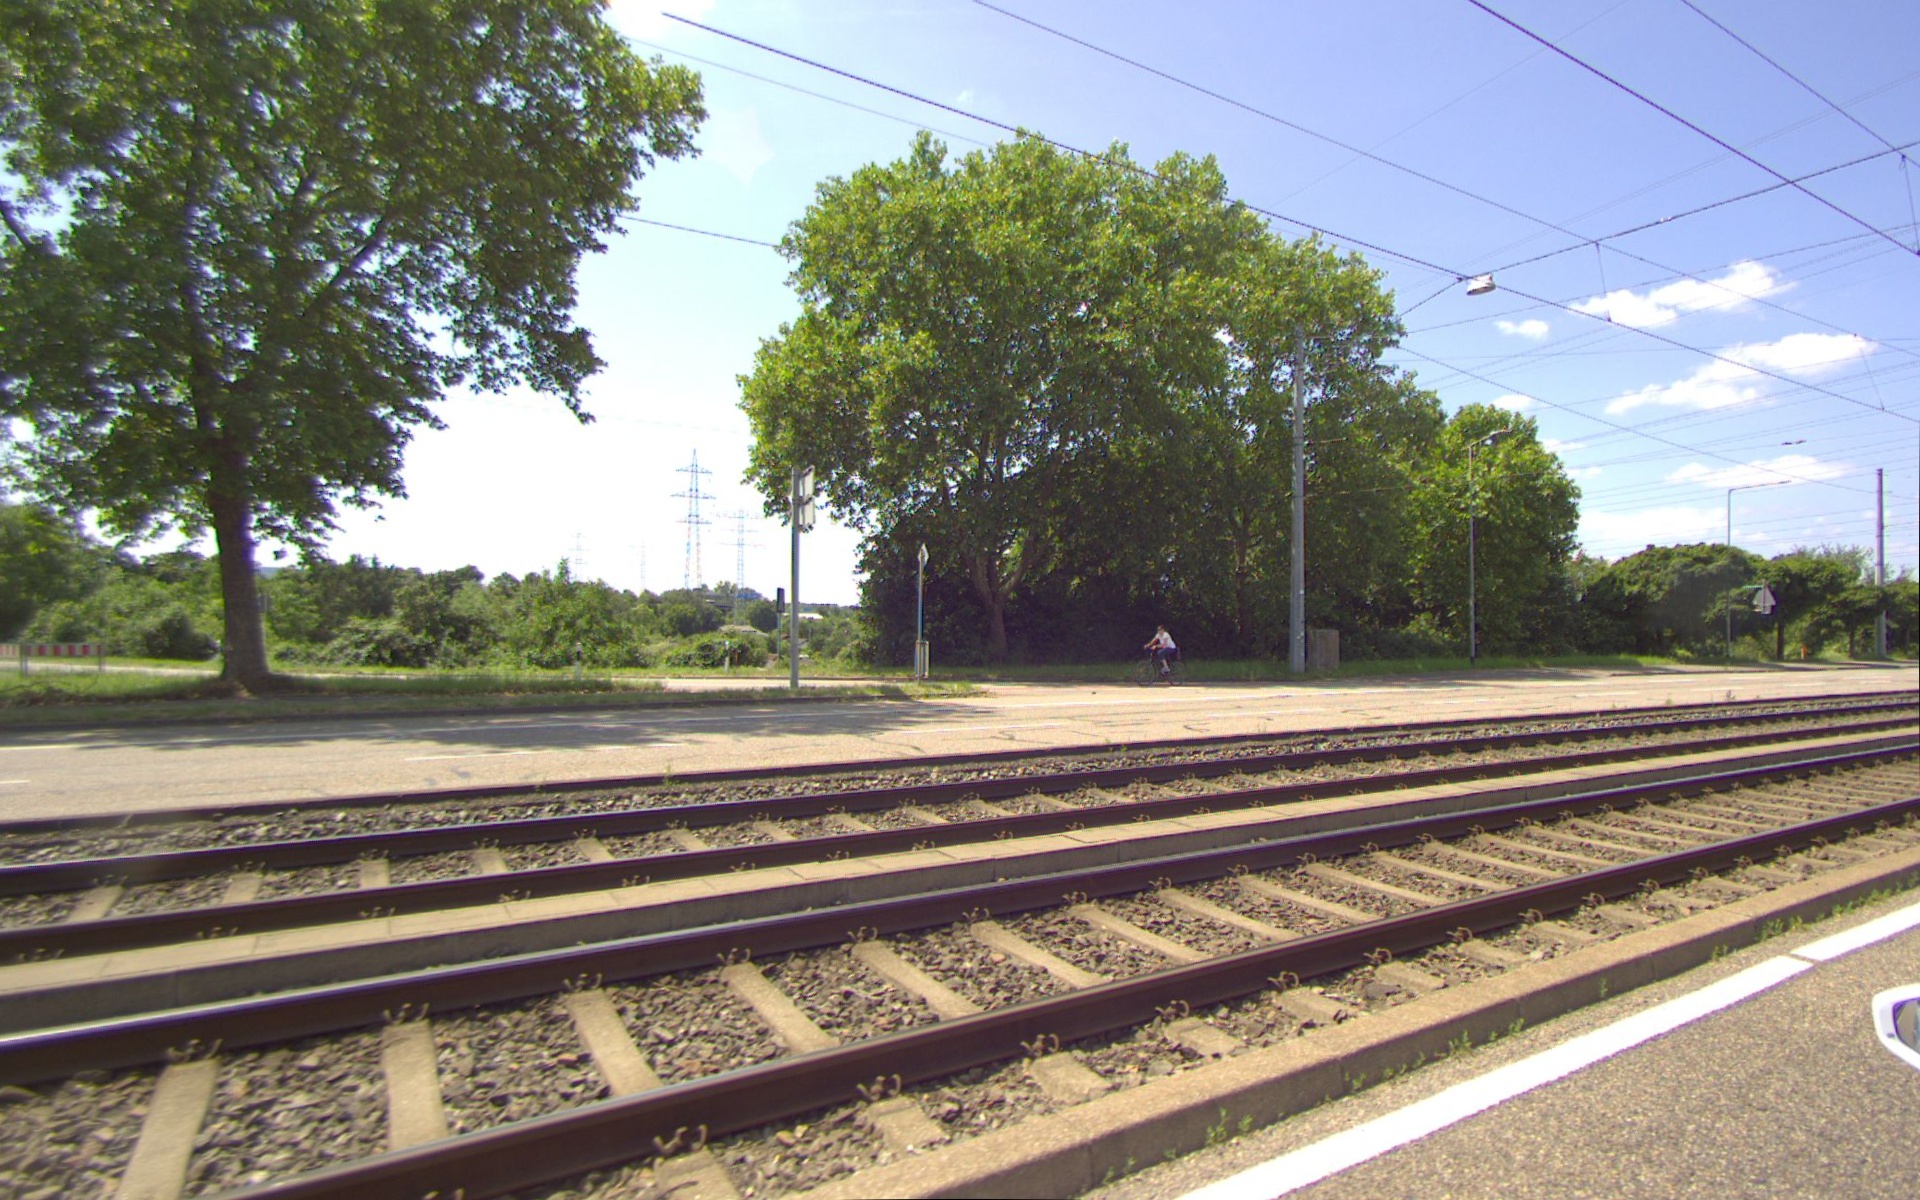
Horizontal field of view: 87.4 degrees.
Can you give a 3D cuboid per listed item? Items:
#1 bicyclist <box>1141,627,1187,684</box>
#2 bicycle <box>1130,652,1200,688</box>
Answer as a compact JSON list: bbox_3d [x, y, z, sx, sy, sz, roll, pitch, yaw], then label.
[{"bbox_3d":[5.663,1.533,27.891,1.148,1.538,0.618,1,-1,-33],"label":"bicyclist"},{"bbox_3d":[5.695,1.931,27.872,2.068,0.952,0.618,1,-1,-33],"label":"bicycle"}]
